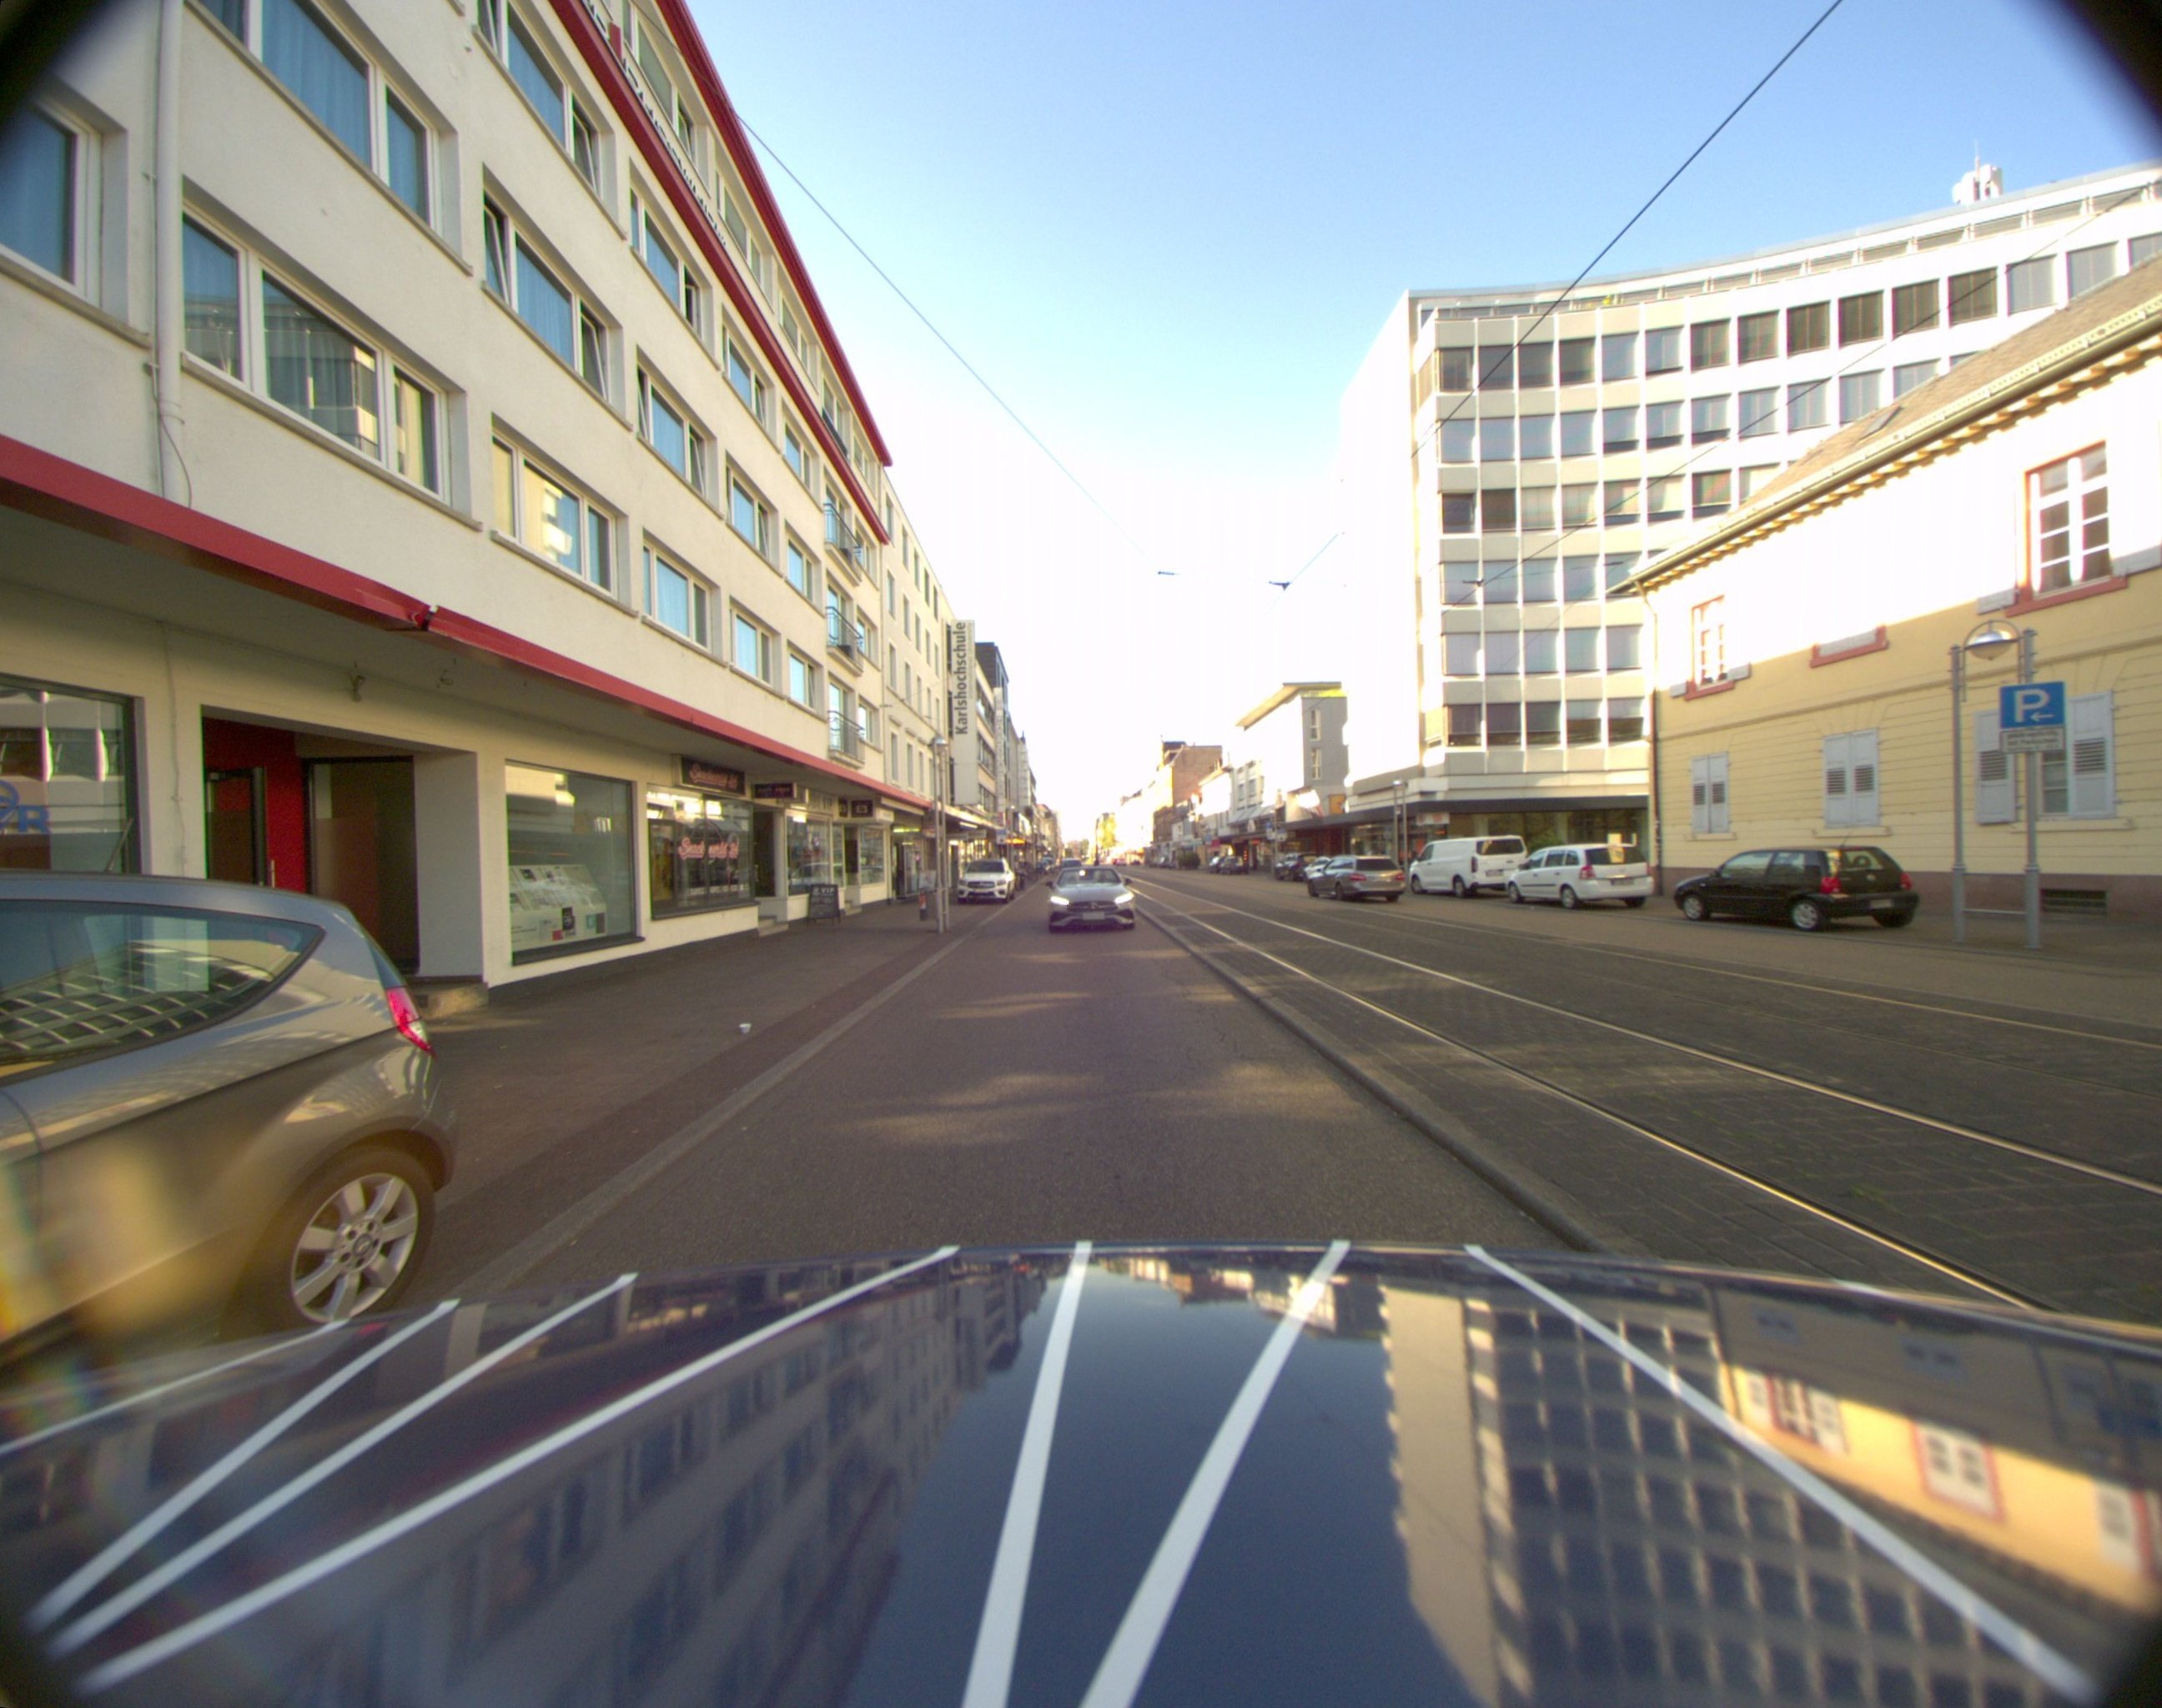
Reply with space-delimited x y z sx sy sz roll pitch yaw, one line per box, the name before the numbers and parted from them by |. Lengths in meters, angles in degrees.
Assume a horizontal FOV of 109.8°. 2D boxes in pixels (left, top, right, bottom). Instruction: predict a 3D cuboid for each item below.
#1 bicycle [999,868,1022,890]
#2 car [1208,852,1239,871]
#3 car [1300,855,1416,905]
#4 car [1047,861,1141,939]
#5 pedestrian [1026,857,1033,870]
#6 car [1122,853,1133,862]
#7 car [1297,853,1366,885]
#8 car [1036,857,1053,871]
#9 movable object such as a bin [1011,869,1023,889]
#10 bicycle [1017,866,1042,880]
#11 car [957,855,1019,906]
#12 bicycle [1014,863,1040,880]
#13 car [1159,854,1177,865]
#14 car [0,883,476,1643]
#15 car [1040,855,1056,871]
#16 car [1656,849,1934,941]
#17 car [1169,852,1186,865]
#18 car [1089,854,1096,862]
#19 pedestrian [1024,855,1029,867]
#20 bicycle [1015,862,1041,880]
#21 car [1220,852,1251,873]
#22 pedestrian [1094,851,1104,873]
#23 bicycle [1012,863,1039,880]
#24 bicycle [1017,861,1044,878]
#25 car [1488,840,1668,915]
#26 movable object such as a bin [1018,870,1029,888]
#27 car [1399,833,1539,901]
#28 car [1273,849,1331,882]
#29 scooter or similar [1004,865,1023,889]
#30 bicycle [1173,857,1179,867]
bicycle | -3.626 1.284 38.937 1.134 1.073 0.320 0 1 -2
car | 12.805 0.650 68.502 1.741 1.514 4.851 -4 0 0
car | 9.028 0.787 25.283 1.885 1.487 4.929 0 0 -2
car | 0.229 0.954 17.714 1.858 1.463 4.785 -1 0 -1
pedestrian | -5.980 1.098 87.991 0.697 1.499 0.814 -1 0 -1
car | 8.971 0.624 147.429 1.802 1.625 3.675 -1 0 -1
car | 12.952 0.723 39.589 1.893 1.413 4.655 -4 0 -2
car | -3.978 1.099 83.844 1.726 1.476 4.415 0 0 -1
movable object such as a bin | -3.324 1.311 39.702 0.523 1.008 0.671 -1 1 2
bicycle | -3.837 1.393 56.605 1.778 1.026 0.596 -1 0 -1
car | -3.463 0.936 29.216 1.854 1.714 5.192 0 0 -1
bicycle | -3.835 1.268 54.418 1.792 1.210 0.669 -1 0 -1
car | 12.216 0.759 106.636 1.822 1.505 4.762 -2 0 -1
car | -3.250 0.921 1.144 1.749 1.622 3.649 0 0 0
car | -3.924 1.019 90.235 1.821 1.849 4.548 0 0 -4
car | 13.065 0.659 14.255 1.618 1.392 3.719 -4 0 -1
car | 12.286 0.573 97.321 1.701 1.594 2.891 -3 1 -1
car | 3.212 1.045 213.059 1.998 2.002 4.000 -4 0 0
pedestrian | -6.727 0.825 93.203 0.577 1.431 0.731 0 1 -1
bicycle | -3.841 1.236 55.238 1.792 1.210 0.587 -1 0 -1
car | 12.641 0.679 62.341 1.605 1.514 3.588 -4 0 -3
pedestrian | 1.458 0.643 62.927 0.806 1.827 0.746 0 1 -2
bicycle | -3.877 1.186 53.026 1.792 1.152 0.669 -1 0 -1
bicycle | -3.934 1.217 59.622 2.043 1.267 0.524 -1 0 -10
car | 13.021 0.548 20.326 1.812 1.676 4.648 -4 0 2
movable object such as a bin | -3.103 1.335 41.068 0.489 0.952 0.458 0 1 3
car | 13.022 0.389 25.938 1.999 1.963 5.095 -4 0 -1
car | 12.885 0.628 44.595 1.983 1.669 4.654 -4 0 0
scooter or similar | -3.487 1.199 39.286 0.995 1.224 0.320 0 1 -2
bicycle | 11.255 0.957 89.979 0.520 1.084 1.716 -4 1 0
